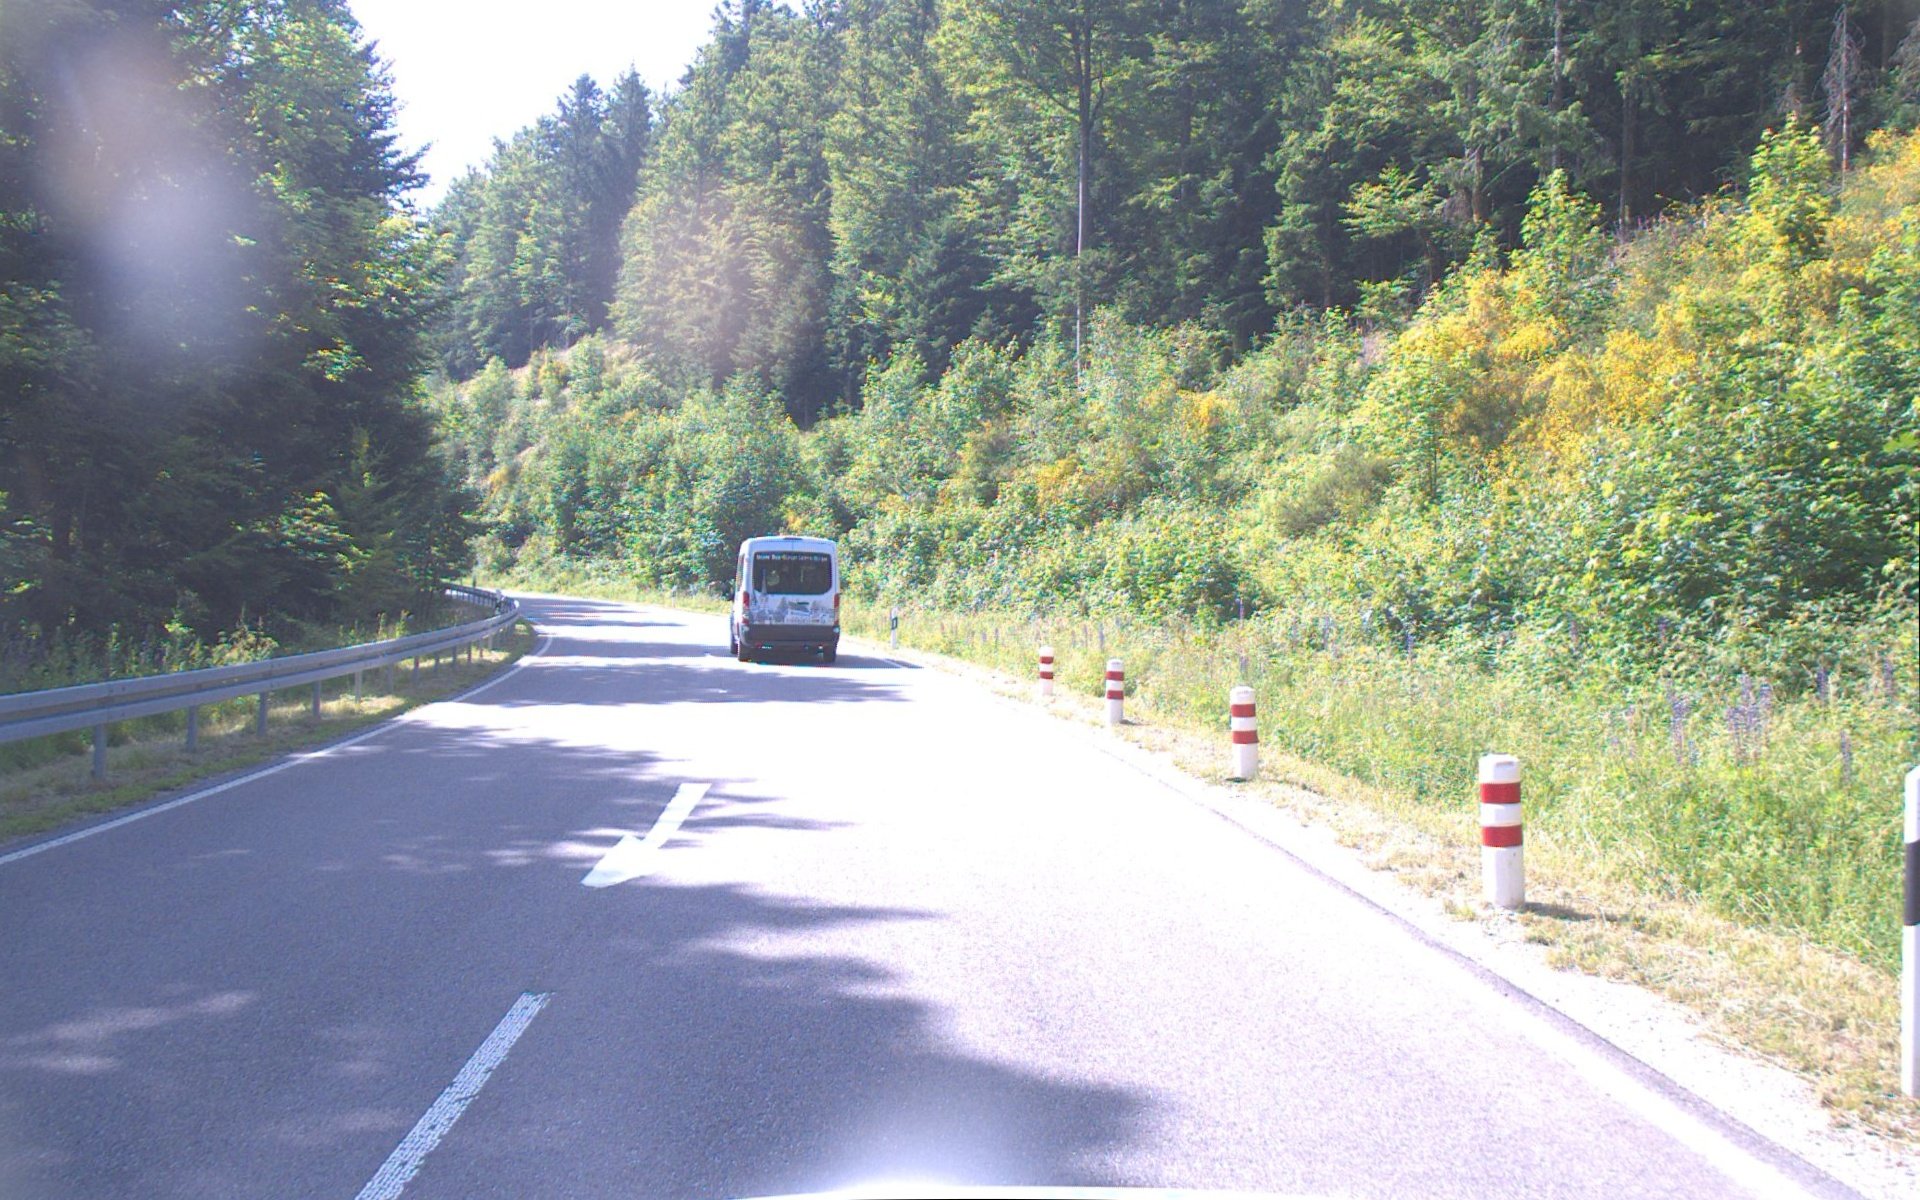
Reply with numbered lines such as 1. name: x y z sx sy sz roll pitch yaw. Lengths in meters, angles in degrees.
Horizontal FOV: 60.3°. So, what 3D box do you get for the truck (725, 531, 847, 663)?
1. truck: -3.754 -0.087 34.864 2.078 2.542 5.345 0 1 -11
